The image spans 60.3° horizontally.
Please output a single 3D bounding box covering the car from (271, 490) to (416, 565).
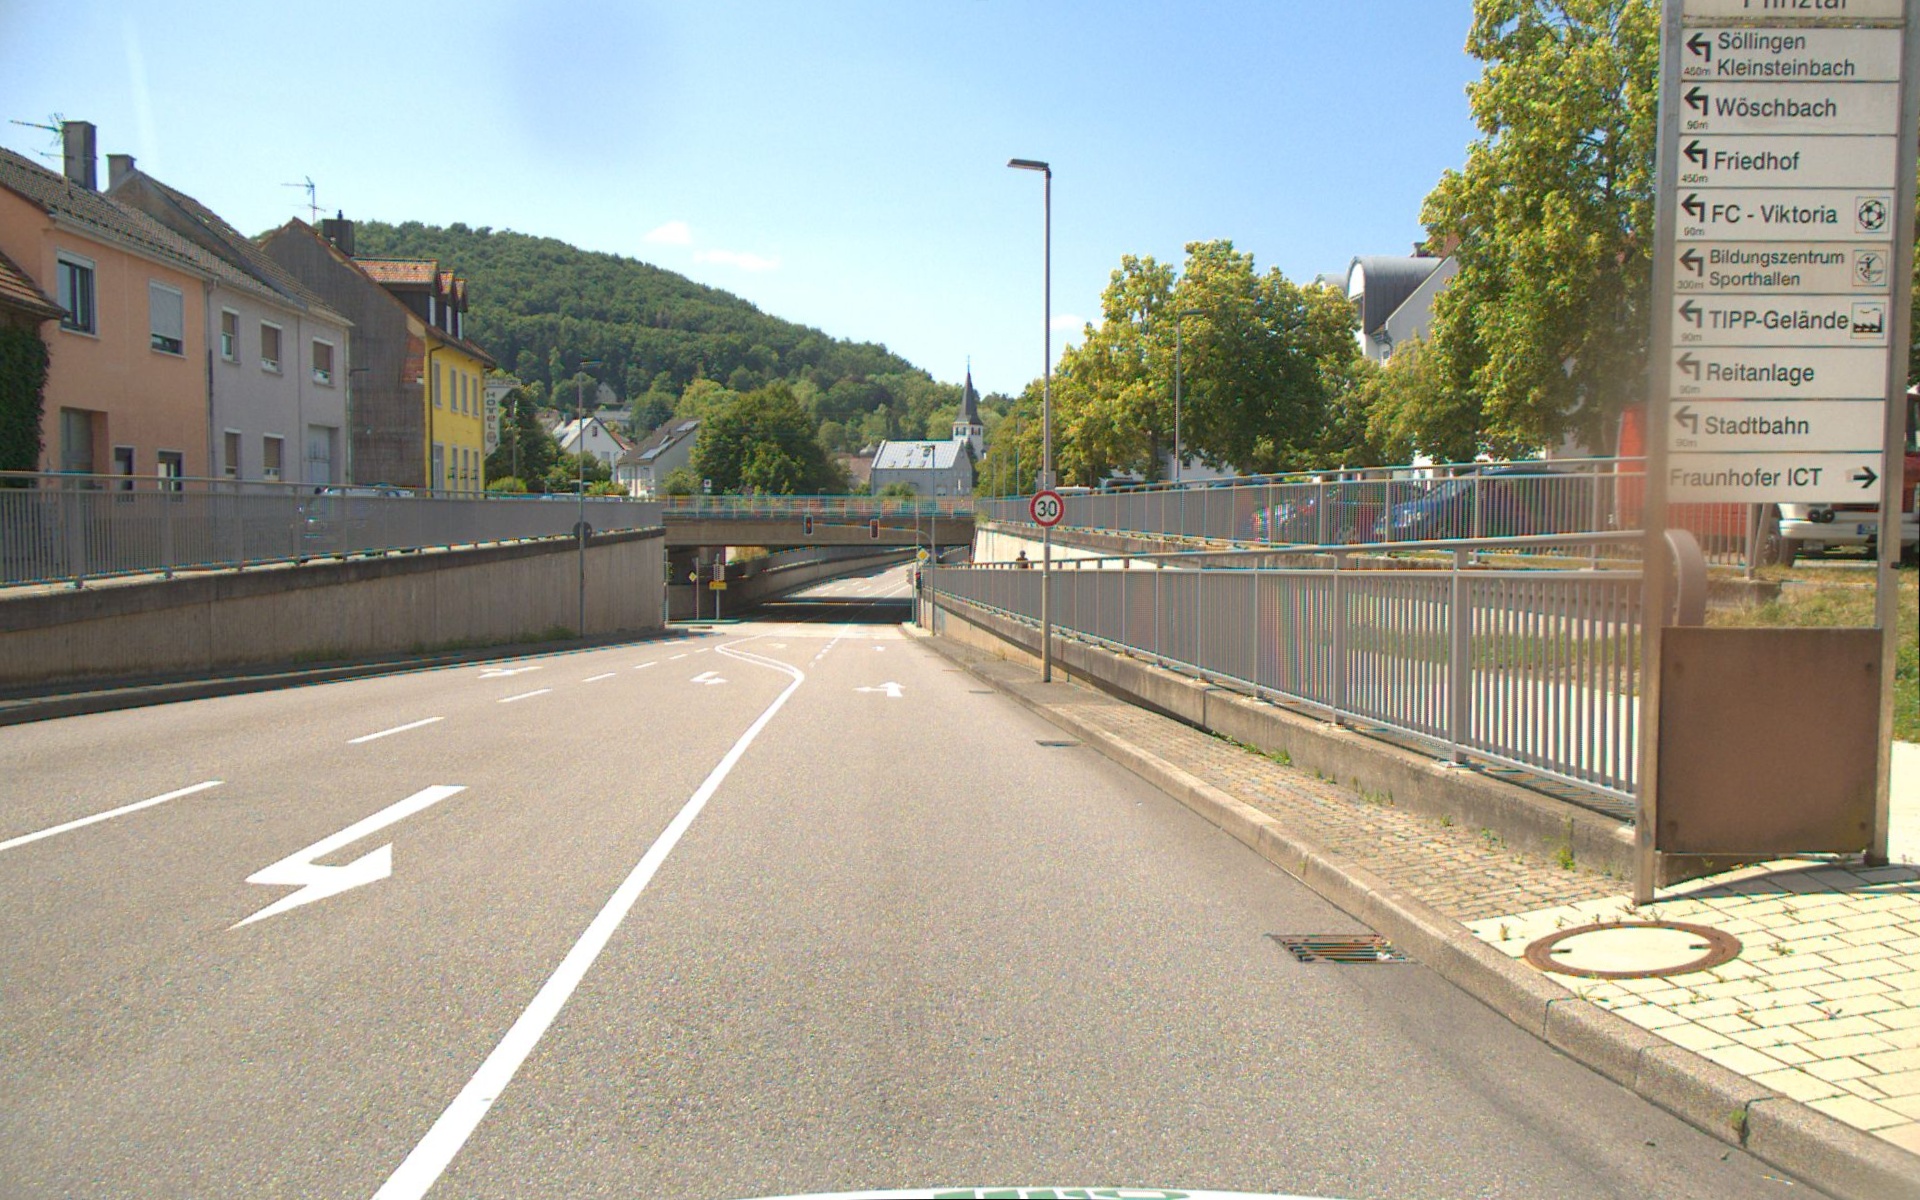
[{"bbox_3d":[-12.807,-1.512,34.631,1.751,1.429,4.389,1,2,-5],"label":"car"}]

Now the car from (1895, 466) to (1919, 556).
[{"bbox_3d":[19.926,-1.619,30.876,3.909,1.658,1.861,2,0,-5],"label":"car"}]

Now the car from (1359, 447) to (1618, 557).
[{"bbox_3d":[9.244,-1.677,29.045,3.918,1.658,1.857,2,0,-13],"label":"car"}]

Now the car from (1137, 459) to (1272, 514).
[{"bbox_3d":[7.529,-3.503,51.137,3.905,1.512,1.769,1,0,-1],"label":"car"}]

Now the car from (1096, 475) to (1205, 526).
[{"bbox_3d":[7.217,-3.769,62.885,3.905,1.801,1.769,1,0,-1],"label":"car"}]

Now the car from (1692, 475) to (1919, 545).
[{"bbox_3d":[19.633,-2.103,38.431,4.395,1.504,2.000,-1,4,-3],"label":"car"}]

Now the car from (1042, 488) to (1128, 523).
[{"bbox_3d":[5.904,-4.460,78.125,3.905,1.512,1.769,1,0,-1],"label":"car"}]

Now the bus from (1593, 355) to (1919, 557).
[{"bbox_3d":[10.924,-1.927,22.607,2.145,2.407,5.361,-1,4,-4],"label":"bus"}]

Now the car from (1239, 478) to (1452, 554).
[{"bbox_3d":[7.820,-1.712,33.762,3.906,1.452,1.725,1,3,-1],"label":"car"}]

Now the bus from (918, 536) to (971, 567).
[{"bbox_3d":[-1.566,-5.339,180.997,2.526,3.227,12.388,1,2,15],"label":"bus"}]
